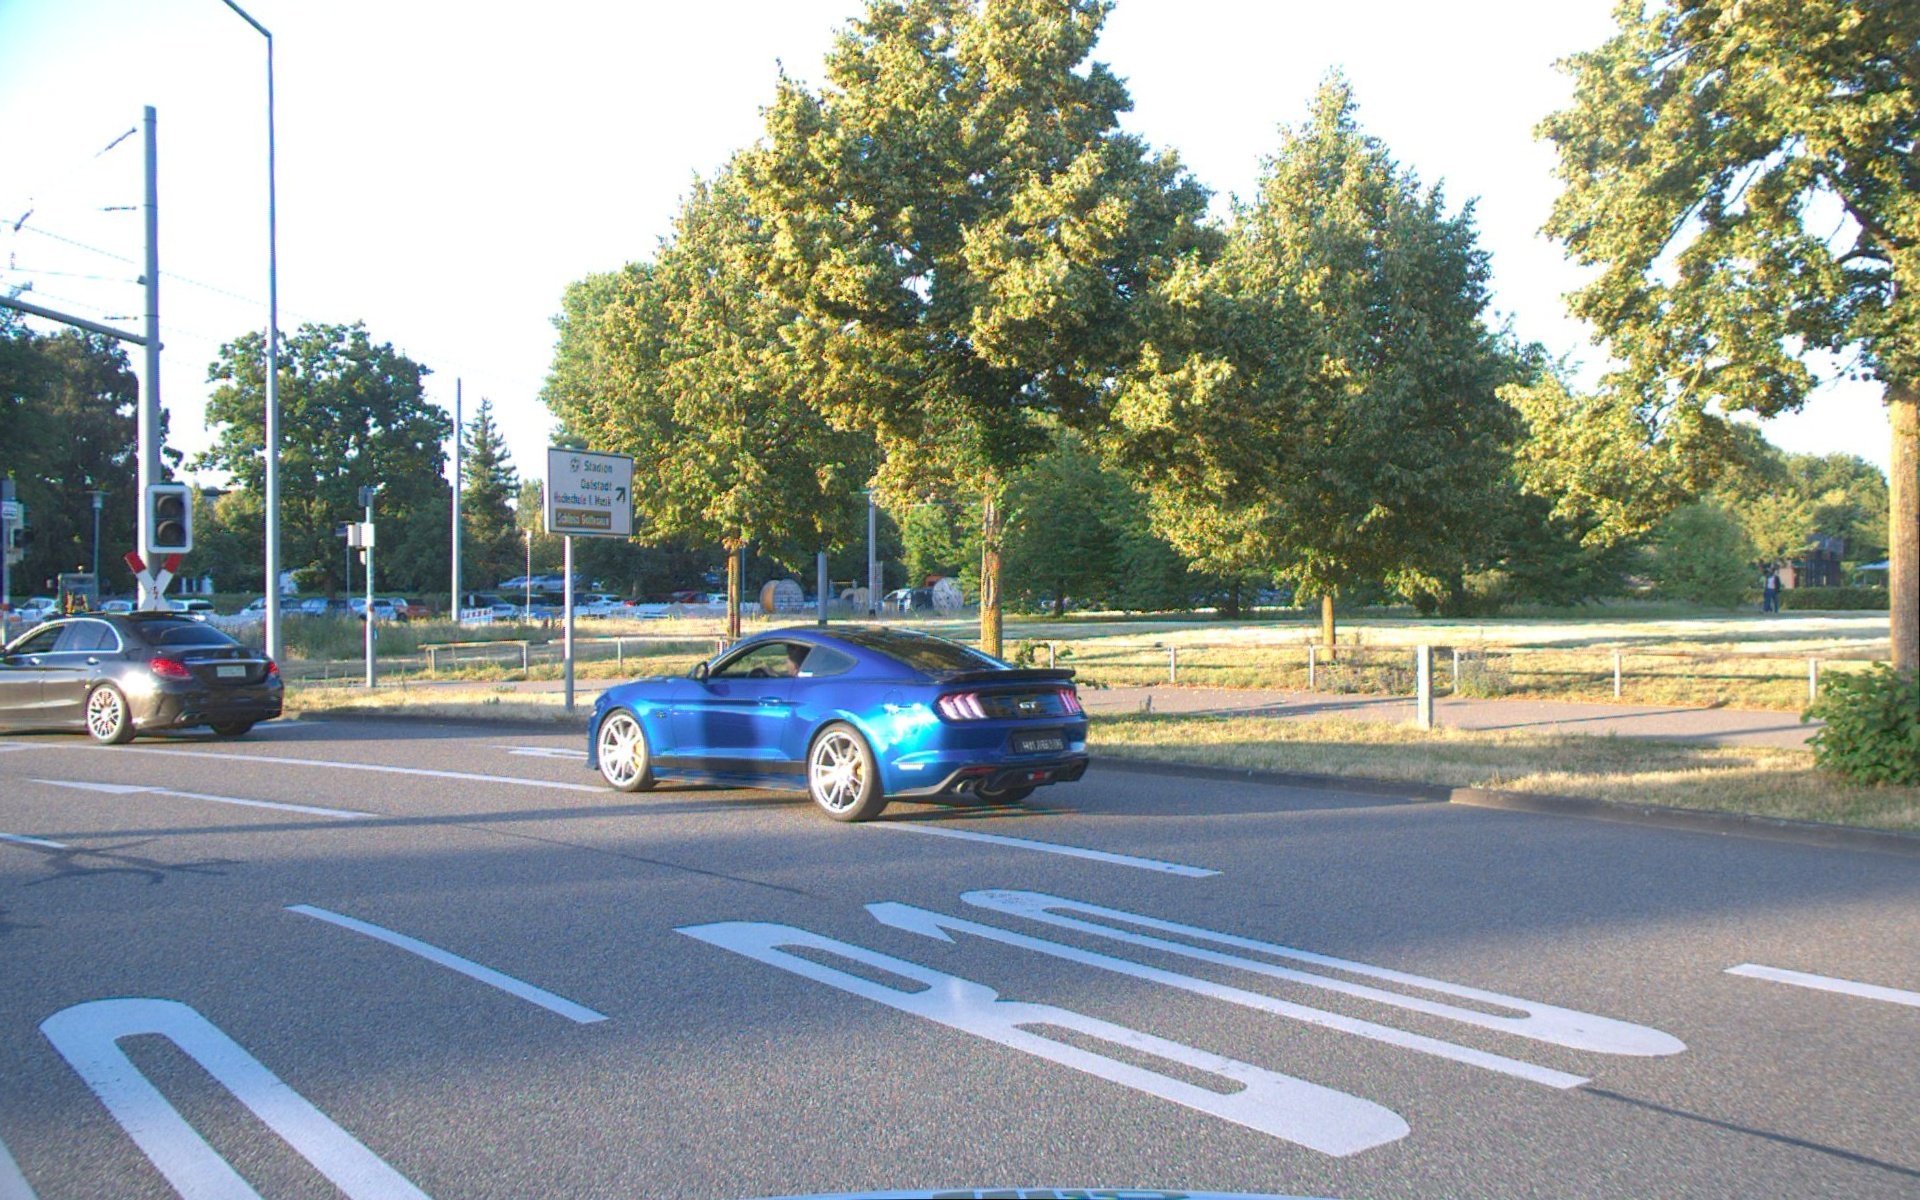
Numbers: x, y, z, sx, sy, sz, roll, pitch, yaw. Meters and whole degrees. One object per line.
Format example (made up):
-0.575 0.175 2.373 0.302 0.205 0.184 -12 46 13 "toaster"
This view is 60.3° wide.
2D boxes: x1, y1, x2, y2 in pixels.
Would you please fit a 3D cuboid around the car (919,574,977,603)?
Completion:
-0.872 -0.857 123.529 3.915 2.132 1.898 -1 0 33 "car"

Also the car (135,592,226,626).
-35.498 0.422 75.320 3.915 1.471 1.948 -1 0 33 "car"

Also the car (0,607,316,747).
-9.815 0.816 19.232 4.329 1.452 1.955 0 0 27 "car"

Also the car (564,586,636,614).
-20.817 0.011 95.661 3.915 1.581 1.898 -1 0 33 "car"

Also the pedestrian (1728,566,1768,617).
29.802 -0.329 62.536 1.088 1.896 0.904 0 0 -26 "pedestrian"

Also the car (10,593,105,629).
-38.911 0.472 71.273 3.915 1.471 1.948 -1 0 33 "car"

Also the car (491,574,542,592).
-38.336 -1.468 142.943 1.865 1.581 3.985 -1 0 36 "car"

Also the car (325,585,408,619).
-30.020 0.108 83.640 3.915 1.691 1.948 -1 0 33 "car"

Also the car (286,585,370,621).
-31.270 0.143 81.804 3.915 1.691 1.948 -1 0 33 "car"

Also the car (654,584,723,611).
-16.667 -0.142 101.487 3.915 1.581 1.898 -1 0 33 "car"

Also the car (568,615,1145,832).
-0.960 0.818 12.971 4.590 1.365 1.945 0 -1 44 "car"

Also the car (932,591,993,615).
0.161 0.193 105.674 3.532 1.508 1.708 1 0 30 "car"

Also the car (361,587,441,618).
-29.011 0.131 85.867 3.915 1.581 1.898 -1 0 33 "car"

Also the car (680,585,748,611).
-15.397 -0.144 103.604 3.915 1.581 1.898 -1 0 33 "car"

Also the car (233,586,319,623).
-33.094 0.217 80.006 3.915 1.691 1.948 -1 0 33 "car"

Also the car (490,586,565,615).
-23.911 0.033 91.406 3.915 1.581 1.898 -1 0 33 "car"

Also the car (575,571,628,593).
-29.556 -1.467 136.514 1.959 1.775 3.986 1 0 35 "car"

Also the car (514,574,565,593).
-35.748 -1.408 140.694 1.865 1.581 3.985 -1 0 36 "car"

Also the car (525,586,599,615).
-22.486 0.025 93.419 3.915 1.581 1.898 -1 0 33 "car"

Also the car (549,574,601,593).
-32.105 -1.402 138.107 1.865 1.581 3.985 -1 0 36 "car"

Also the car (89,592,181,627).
-36.780 0.429 73.726 3.915 1.471 1.948 -1 0 33 "car"

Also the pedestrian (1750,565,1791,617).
29.947 -0.333 61.104 1.088 1.896 0.904 0 0 -26 "pedestrian"
